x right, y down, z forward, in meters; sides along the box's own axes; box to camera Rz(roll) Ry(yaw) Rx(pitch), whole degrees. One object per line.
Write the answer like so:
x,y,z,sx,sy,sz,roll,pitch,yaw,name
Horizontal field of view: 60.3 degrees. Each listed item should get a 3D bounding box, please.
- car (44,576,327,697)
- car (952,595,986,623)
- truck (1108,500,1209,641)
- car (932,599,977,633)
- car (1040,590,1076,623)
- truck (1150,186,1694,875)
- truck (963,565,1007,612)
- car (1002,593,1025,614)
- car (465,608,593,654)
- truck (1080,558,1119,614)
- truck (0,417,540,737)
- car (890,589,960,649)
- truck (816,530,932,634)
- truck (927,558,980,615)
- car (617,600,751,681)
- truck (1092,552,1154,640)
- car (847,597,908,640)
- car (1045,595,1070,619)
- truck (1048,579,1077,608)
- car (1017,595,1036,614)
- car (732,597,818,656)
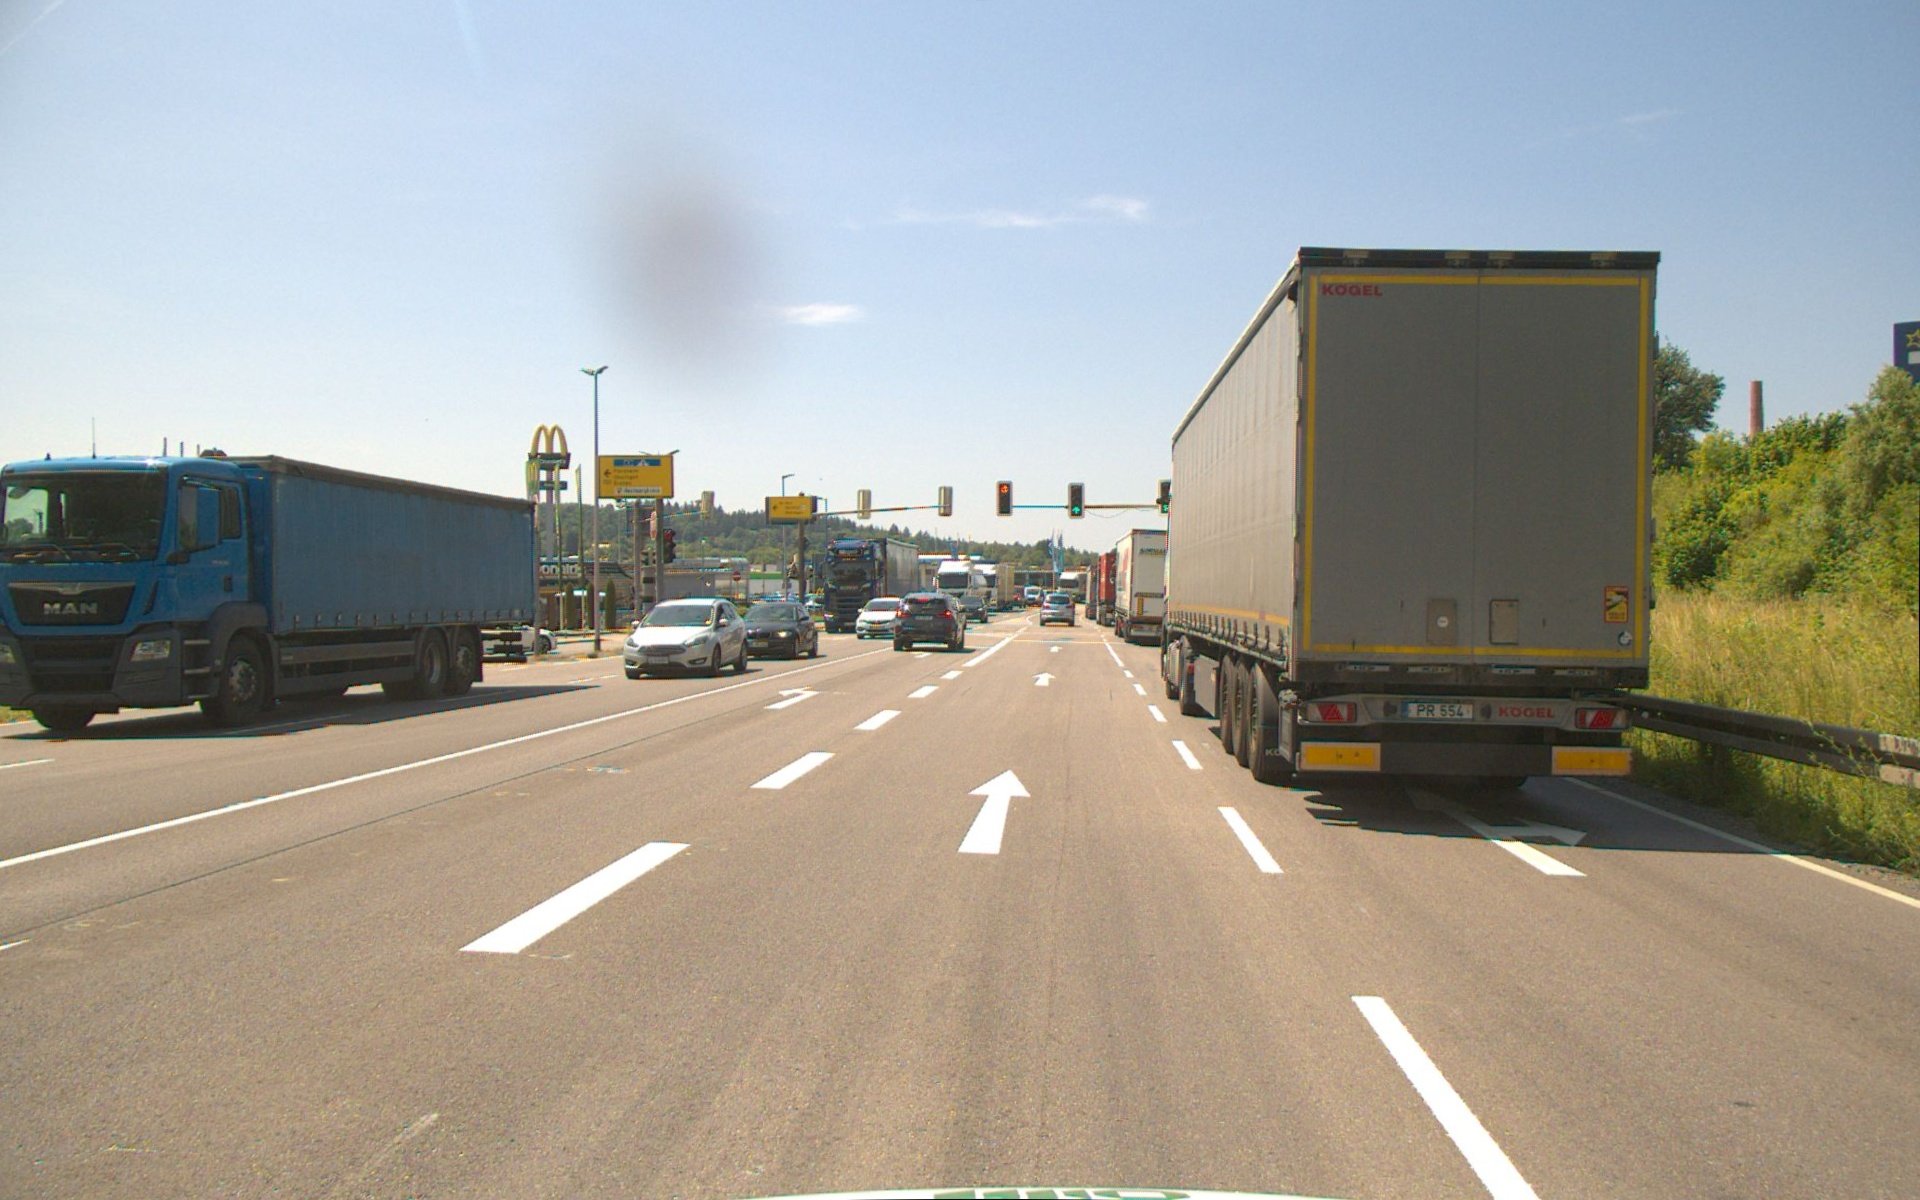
-19.341,0.883,41.519,5.871,2.530,2.194,-4,0,-2,car
0.531,0.479,93.853,1.629,1.535,3.907,-1,0,5,car
7.477,-0.840,64.464,2.815,4.720,16.660,1,-1,3,truck
-0.231,0.747,78.315,1.772,1.535,4.949,0,0,4,car
5.285,0.366,88.950,1.766,1.699,4.294,1,0,6,car
4.147,-0.341,19.754,2.698,4.720,16.660,1,-1,3,truck
2.329,-1.001,148.579,2.872,4.019,13.873,0,0,5,truck
5.564,0.380,170.846,1.951,2.049,4.002,1,-1,7,car
-15.034,1.105,57.819,3.982,1.506,1.761,2,-2,-44,car
10.235,-0.959,121.923,2.553,3.782,9.453,1,-1,4,truck
-9.210,-0.205,23.460,2.786,3.410,11.487,0,0,4,truck
-0.983,0.531,48.078,1.756,1.656,4.371,0,0,2,car
-3.850,-0.795,79.657,3.079,4.425,17.553,-1,0,5,truck
-0.376,-0.929,123.792,2.873,4.019,14.244,0,0,4,truck
-5.363,0.754,32.669,1.752,1.451,4.264,-1,0,2,car
9.303,-0.052,95.978,2.815,4.557,16.660,1,-1,3,truck
-3.070,0.722,62.104,1.704,1.530,4.408,-1,-1,5,car
8.461,0.560,142.997,1.951,2.049,4.003,0,0,7,car
15.966,-0.988,256.589,3.201,4.019,13.875,1,-1,9,truck
7.551,0.497,187.095,1.864,2.049,4.002,1,-1,7,car
-4.629,0.645,41.875,1.628,1.428,4.017,0,0,2,car
